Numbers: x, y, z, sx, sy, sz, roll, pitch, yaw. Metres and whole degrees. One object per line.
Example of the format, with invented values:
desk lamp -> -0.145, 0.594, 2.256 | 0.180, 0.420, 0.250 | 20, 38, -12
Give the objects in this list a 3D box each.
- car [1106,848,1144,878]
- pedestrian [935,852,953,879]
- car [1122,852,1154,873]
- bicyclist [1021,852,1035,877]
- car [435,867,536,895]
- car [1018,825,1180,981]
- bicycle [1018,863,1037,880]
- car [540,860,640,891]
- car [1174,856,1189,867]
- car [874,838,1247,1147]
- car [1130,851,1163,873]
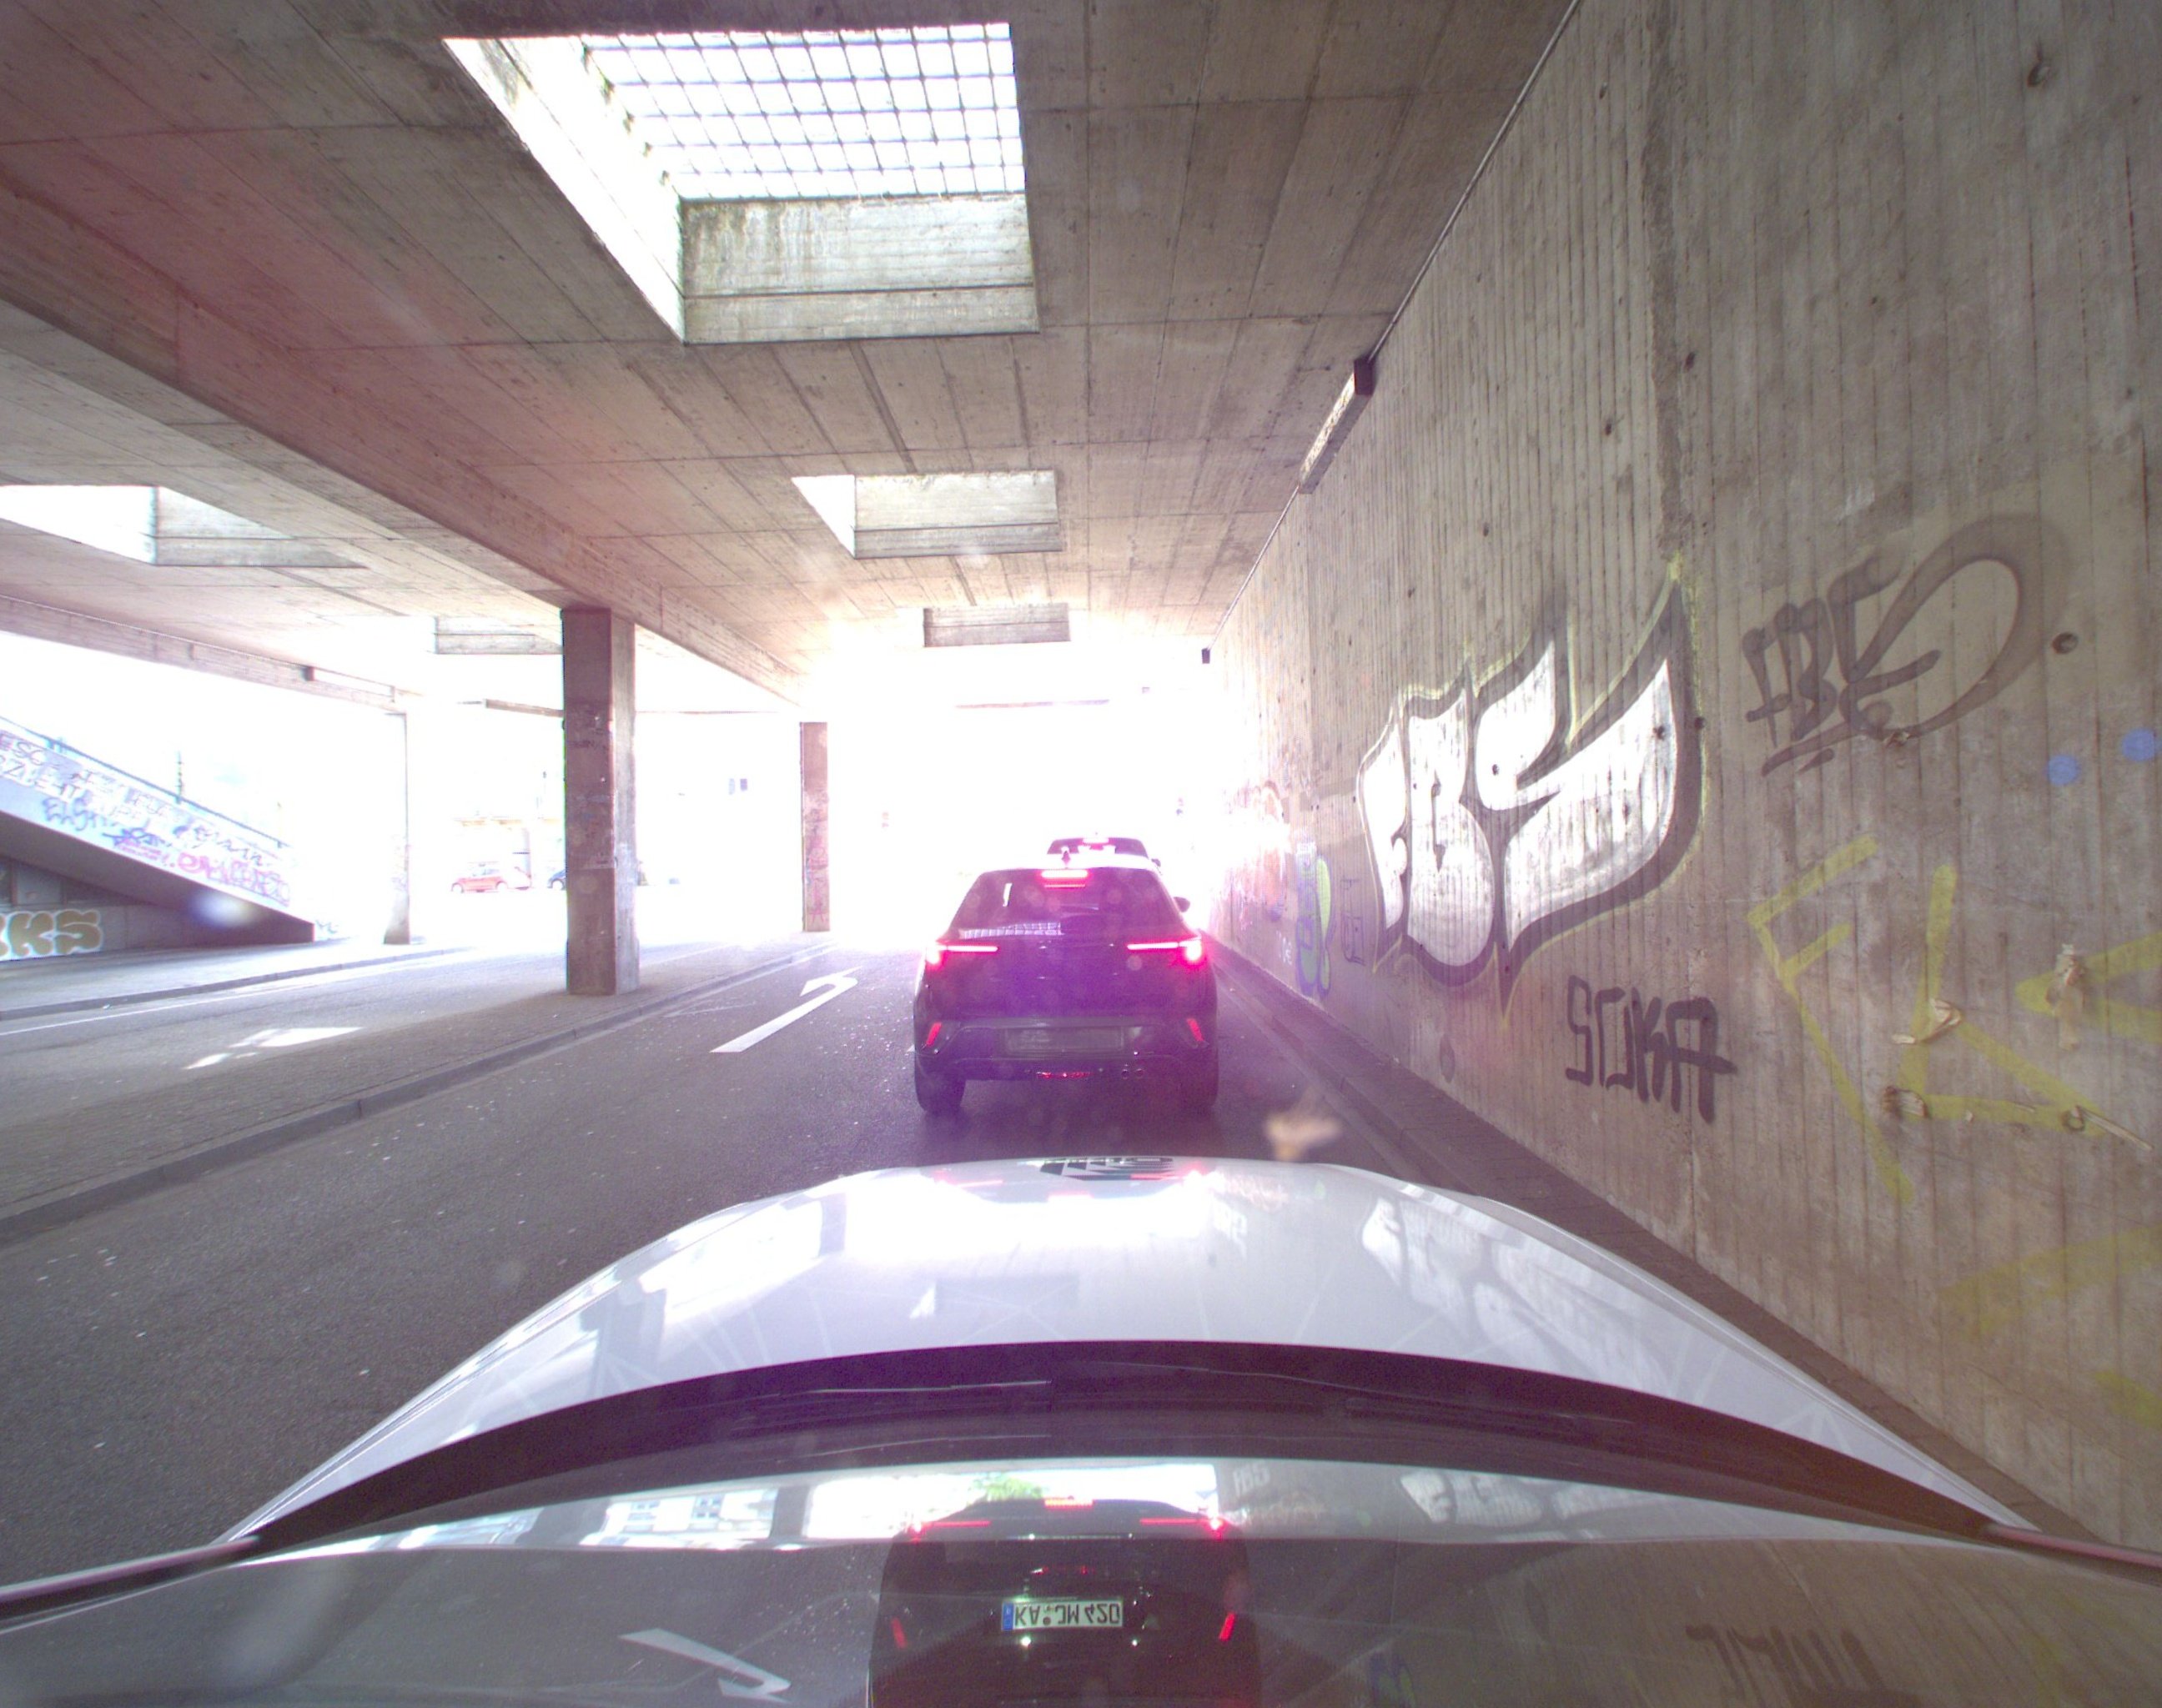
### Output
car -> 2.409, 0.510, 44.250 | 1.959, 1.497, 3.900 | -2, -2, 4
pedestrian -> -10.242, 0.838, 60.974 | 0.986, 2.013, 1.091 | -2, 0, 10
car -> 4.405, 0.653, 62.235 | 1.955, 1.497, 3.908 | -2, -2, 11
bicyclist -> -3.379, 0.657, 51.762 | 0.724, 1.581, 0.817 | -1, -1, 11
car -> -33.012, 1.484, 45.220 | 3.970, 1.374, 2.192 | -2, 0, 3
car -> 0.287, 0.598, 11.992 | 1.938, 1.860, 3.966 | -2, 0, 2
bicycle -> -3.388, 1.115, 51.727 | 0.727, 1.067, 1.694 | -1, -1, 11
car -> -27.207, 1.193, 45.221 | 4.114, 1.550, 2.268 | -2, 0, 1
car -> 15.372, 1.111, 124.096 | 1.981, 1.662, 4.012 | -1, -1, 11
car -> -0.045, 0.714, 6.171 | 1.875, 1.538, 3.966 | -2, 0, 2
car -> 5.587, 0.699, 69.021 | 2.206, 1.719, 4.474 | -2, -2, 12
